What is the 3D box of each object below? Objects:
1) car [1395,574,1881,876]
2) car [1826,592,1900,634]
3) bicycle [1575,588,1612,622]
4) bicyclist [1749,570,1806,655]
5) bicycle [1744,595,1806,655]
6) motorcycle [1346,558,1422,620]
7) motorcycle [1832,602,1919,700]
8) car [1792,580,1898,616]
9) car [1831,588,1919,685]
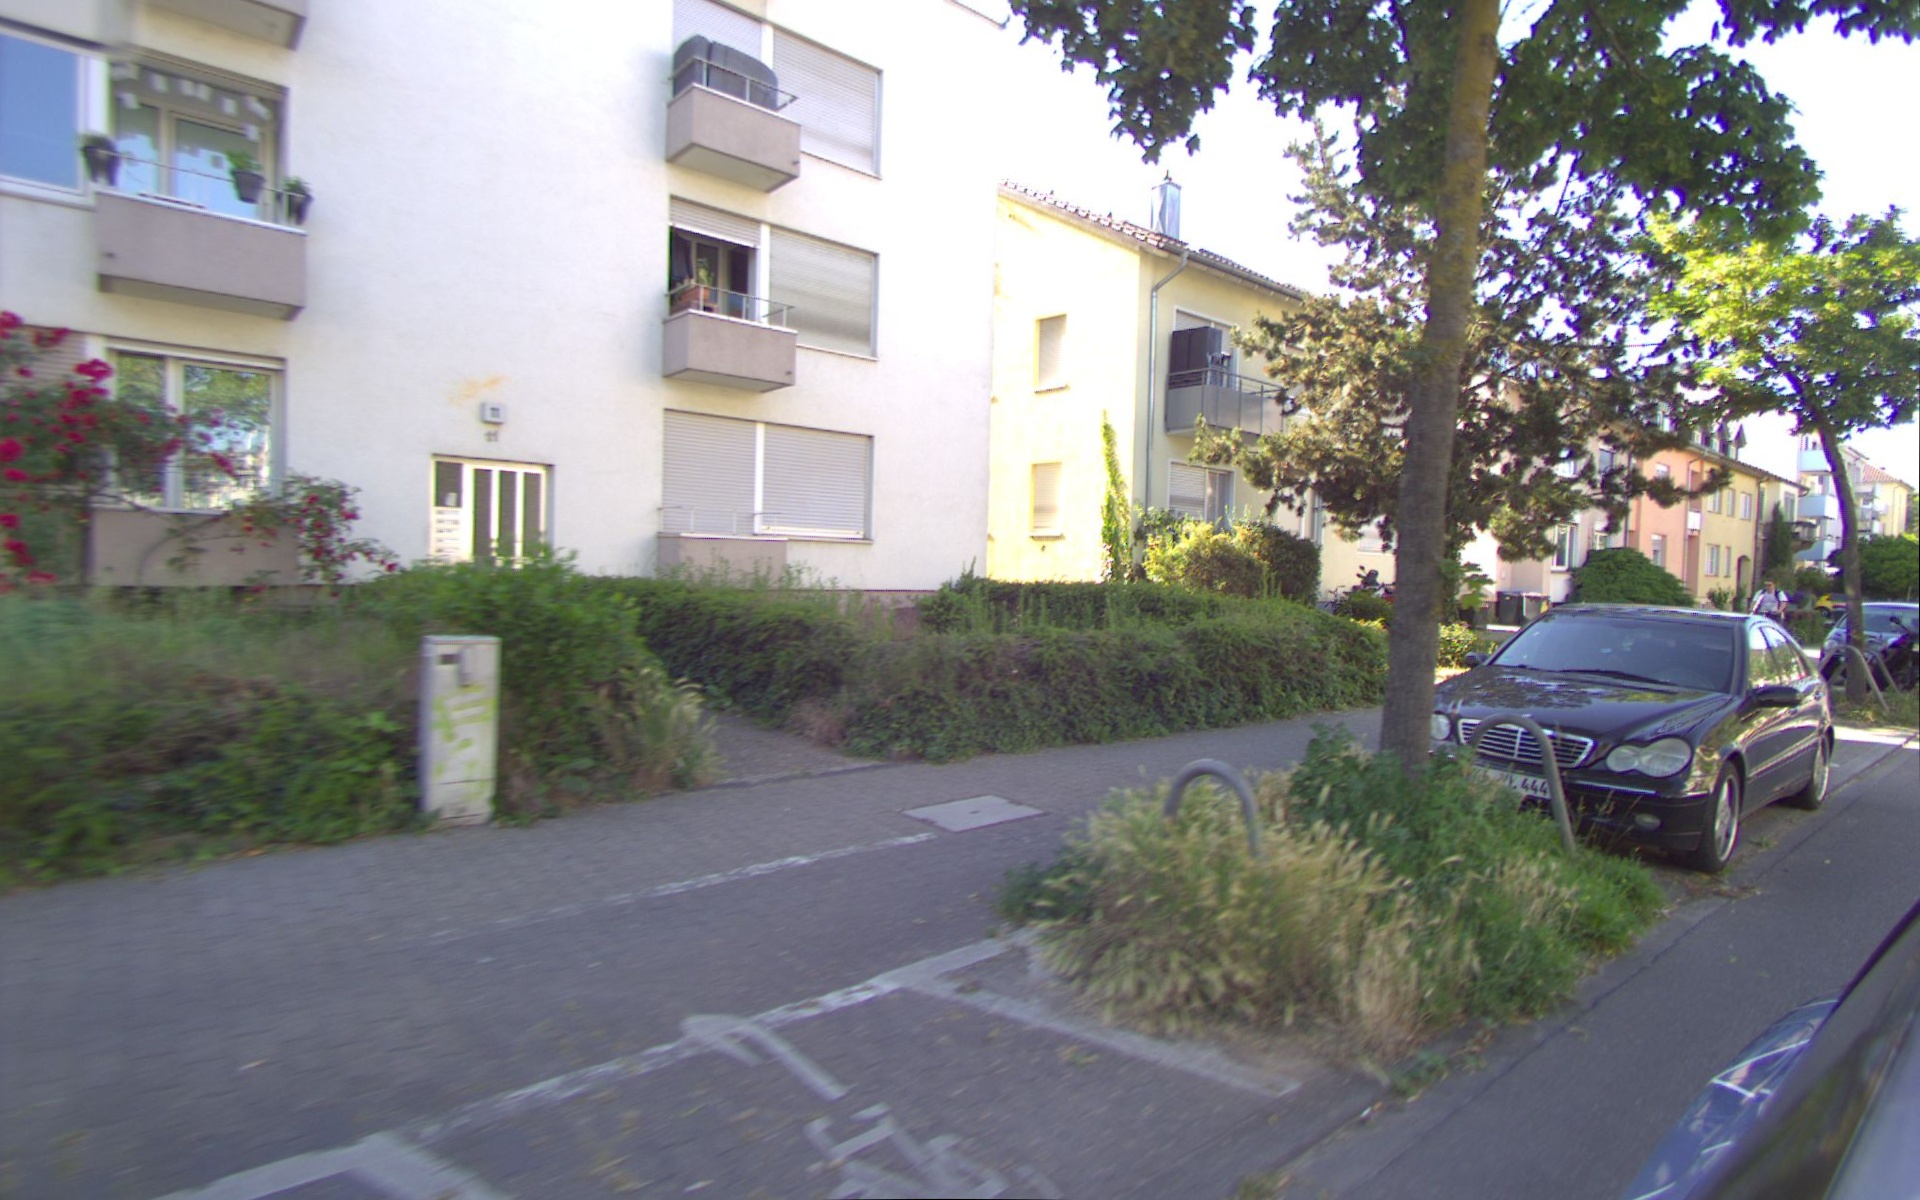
[{"bbox_3d":[4.898,0.616,7.033,4.375,1.412,1.590,0,4,-40],"label":"car"},{"bbox_3d":[34.011,0.465,38.110,3.653,1.372,1.536,0,5,-41],"label":"car"},{"bbox_3d":[20.217,0.135,32.291,1.713,1.004,0.456,-1,5,-41],"label":"bicycle"},{"bbox_3d":[18.328,0.269,22.687,0.998,1.815,0.725,1,3,-41],"label":"bicyclist"},{"bbox_3d":[18.306,0.541,22.716,1.790,1.262,0.699,0,3,-41],"label":"bicycle"},{"bbox_3d":[10.240,-0.258,24.394,2.383,1.392,0.637,0,3,-41],"label":"motorcycle"},{"bbox_3d":[14.189,0.739,15.289,0.692,1.287,2.415,4,3,21],"label":"motorcycle"},{"bbox_3d":[47.702,-0.128,54.607,1.799,1.457,3.999,0,6,-40],"label":"car"},{"bbox_3d":[16.930,0.617,17.934,3.583,1.517,1.624,1,3,-39],"label":"car"}]
